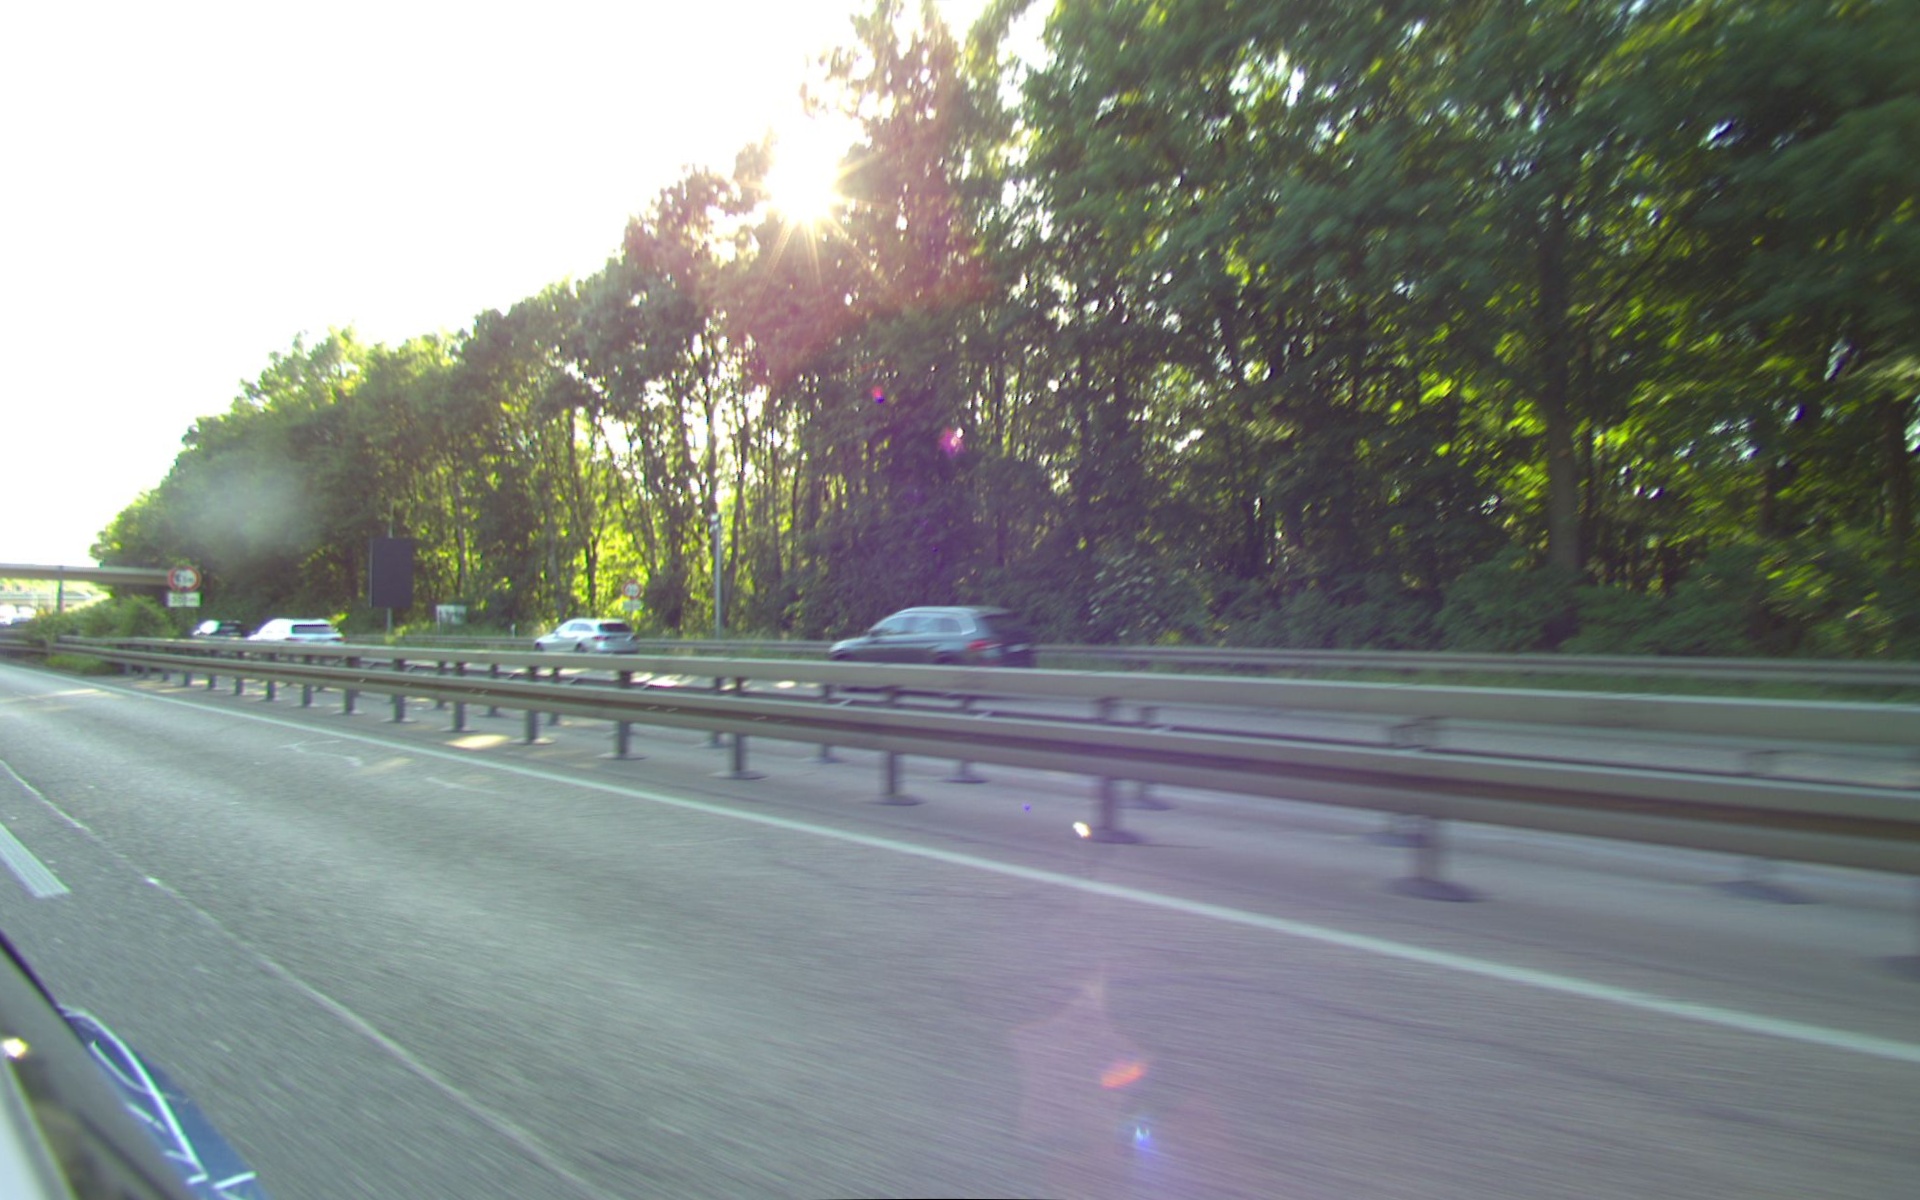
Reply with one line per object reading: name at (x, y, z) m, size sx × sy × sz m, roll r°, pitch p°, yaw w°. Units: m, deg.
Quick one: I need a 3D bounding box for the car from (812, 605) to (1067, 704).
car at (-0.501, 0.999, 19.736) m, size 4.905 × 1.712 × 1.973 m, roll -1°, pitch -3°, yaw 41°

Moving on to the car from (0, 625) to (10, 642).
car at (-88.350, 3.054, 92.508) m, size 4.394 × 1.501 × 1.712 m, roll -1°, pitch -2°, yaw 41°

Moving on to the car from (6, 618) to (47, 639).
car at (-67.603, 2.054, 73.258) m, size 3.941 × 1.508 × 1.732 m, roll -1°, pitch -3°, yaw 41°

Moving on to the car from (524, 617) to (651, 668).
car at (-12.601, 1.399, 34.130) m, size 4.705 × 1.612 × 1.973 m, roll -1°, pitch -3°, yaw 41°

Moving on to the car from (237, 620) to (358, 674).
car at (-21.071, 1.443, 32.104) m, size 4.705 × 1.572 × 1.973 m, roll -1°, pitch -3°, yaw 41°

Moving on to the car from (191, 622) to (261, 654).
car at (-37.660, 1.945, 51.886) m, size 4.116 × 1.551 × 1.973 m, roll -1°, pitch -3°, yaw 41°
